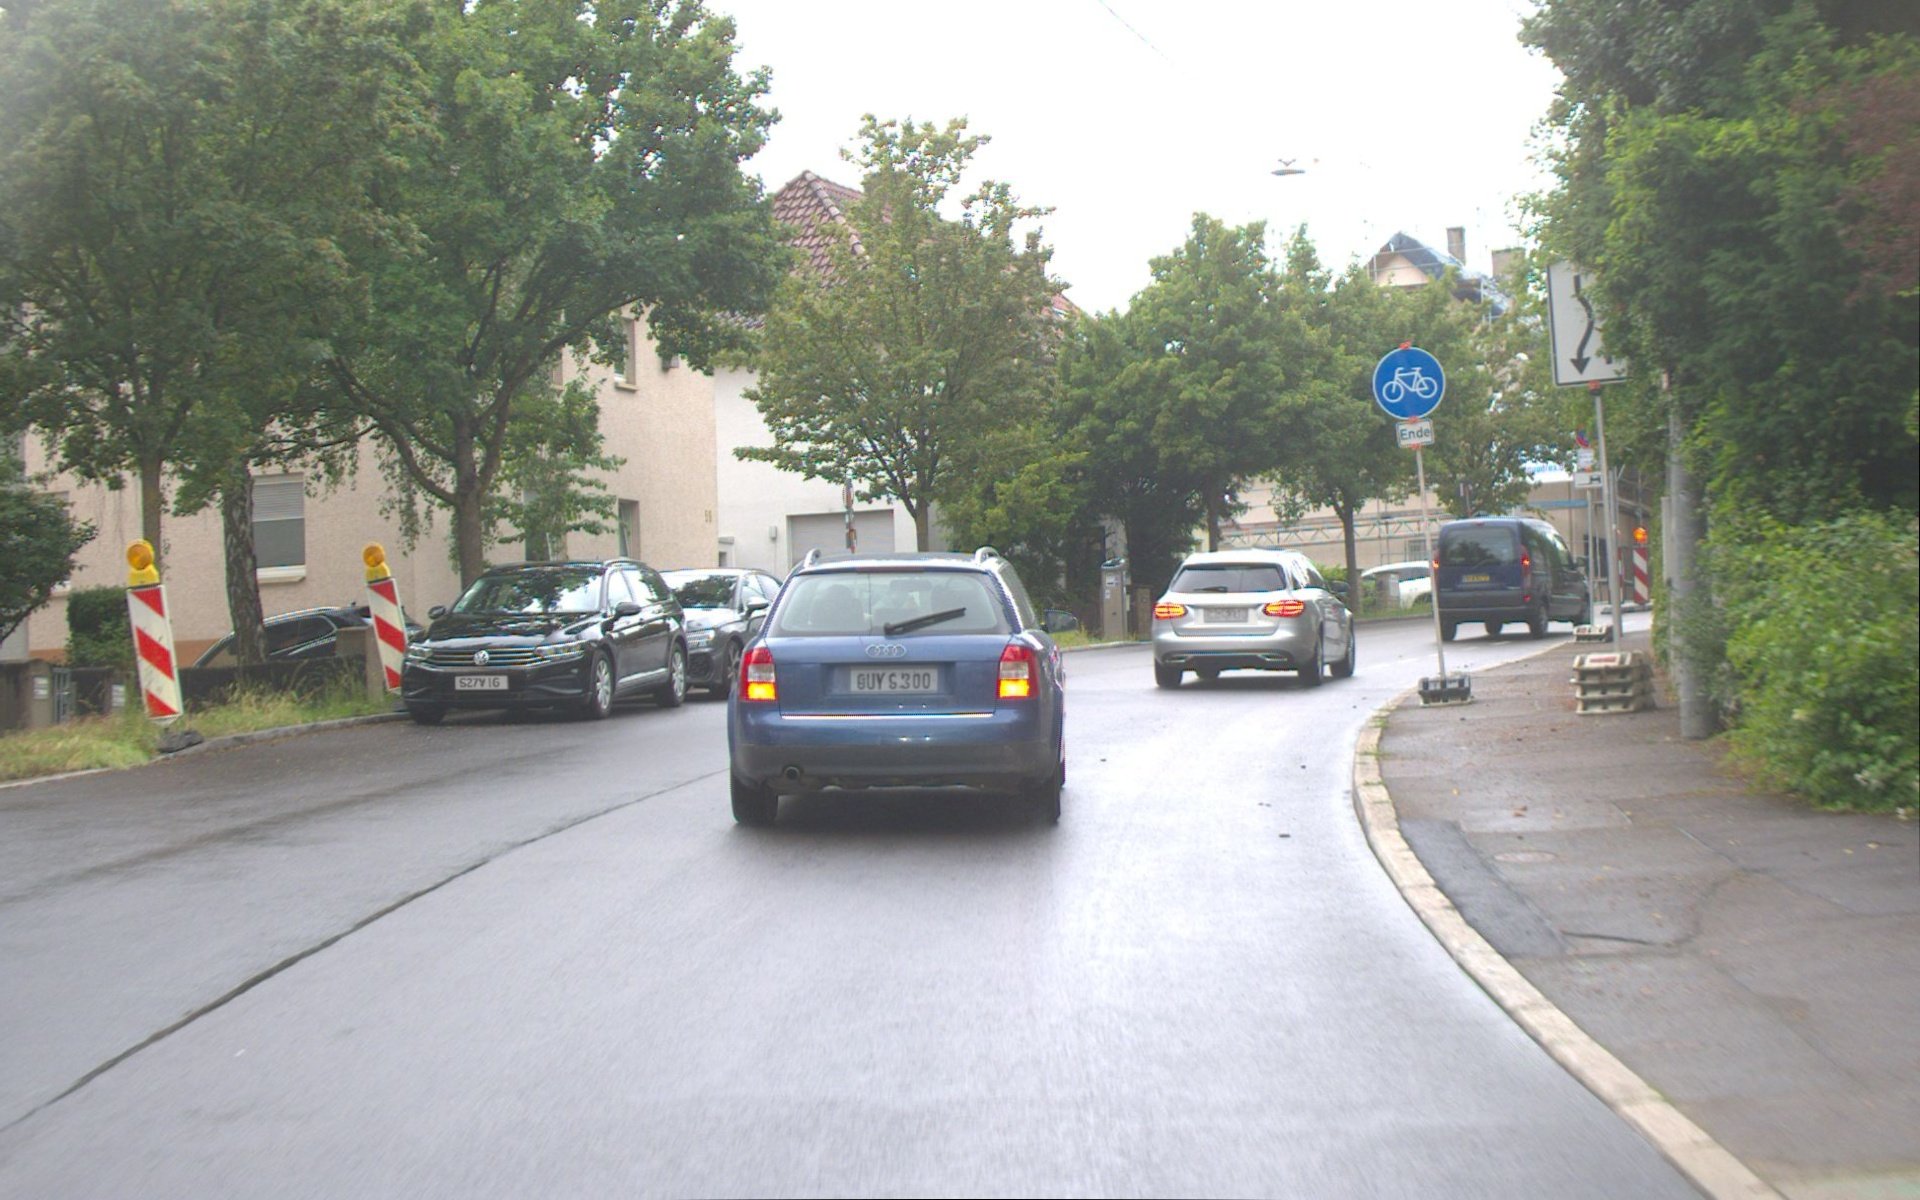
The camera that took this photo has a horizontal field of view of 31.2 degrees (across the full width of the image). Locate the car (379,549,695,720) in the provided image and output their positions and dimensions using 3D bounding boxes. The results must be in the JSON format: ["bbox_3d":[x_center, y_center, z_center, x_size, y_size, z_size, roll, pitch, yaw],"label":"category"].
[{"bbox_3d":[-3.895,0.283,32.420,1.733,1.479,4.528,-1,0,9],"label":"car"}]

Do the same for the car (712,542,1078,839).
[{"bbox_3d":[-0.258,0.415,19.073,1.777,1.434,4.000,1,1,2],"label":"car"}]

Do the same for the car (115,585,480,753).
[{"bbox_3d":[-8.726,0.903,45.287,4.243,1.500,1.911,-10,-3,24],"label":"car"}]

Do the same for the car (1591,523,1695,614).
[{"bbox_3d":[13.029,-0.587,65.441,1.721,1.654,3.712,1,0,14],"label":"car"}]

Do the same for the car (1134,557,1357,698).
[{"bbox_3d":[3.209,0.268,37.879,1.910,1.383,4.348,-2,1,11],"label":"car"}]

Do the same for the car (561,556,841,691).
[{"bbox_3d":[-2.784,0.222,38.074,1.708,1.378,4.527,-1,0,14],"label":"car"}]

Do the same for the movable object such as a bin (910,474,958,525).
[{"bbox_3d":[-0.478,-1.859,63.501,0.670,0.918,0.591,-1,1,24],"label":"movable object such as a bin"}]

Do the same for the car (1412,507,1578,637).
[{"bbox_3d":[8.249,-0.423,52.763,1.732,1.888,4.051,-1,0,20],"label":"car"}]

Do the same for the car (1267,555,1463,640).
[{"bbox_3d":[9.828,-0.054,83.477,4.202,1.599,1.948,-7,-3,25],"label":"car"}]
